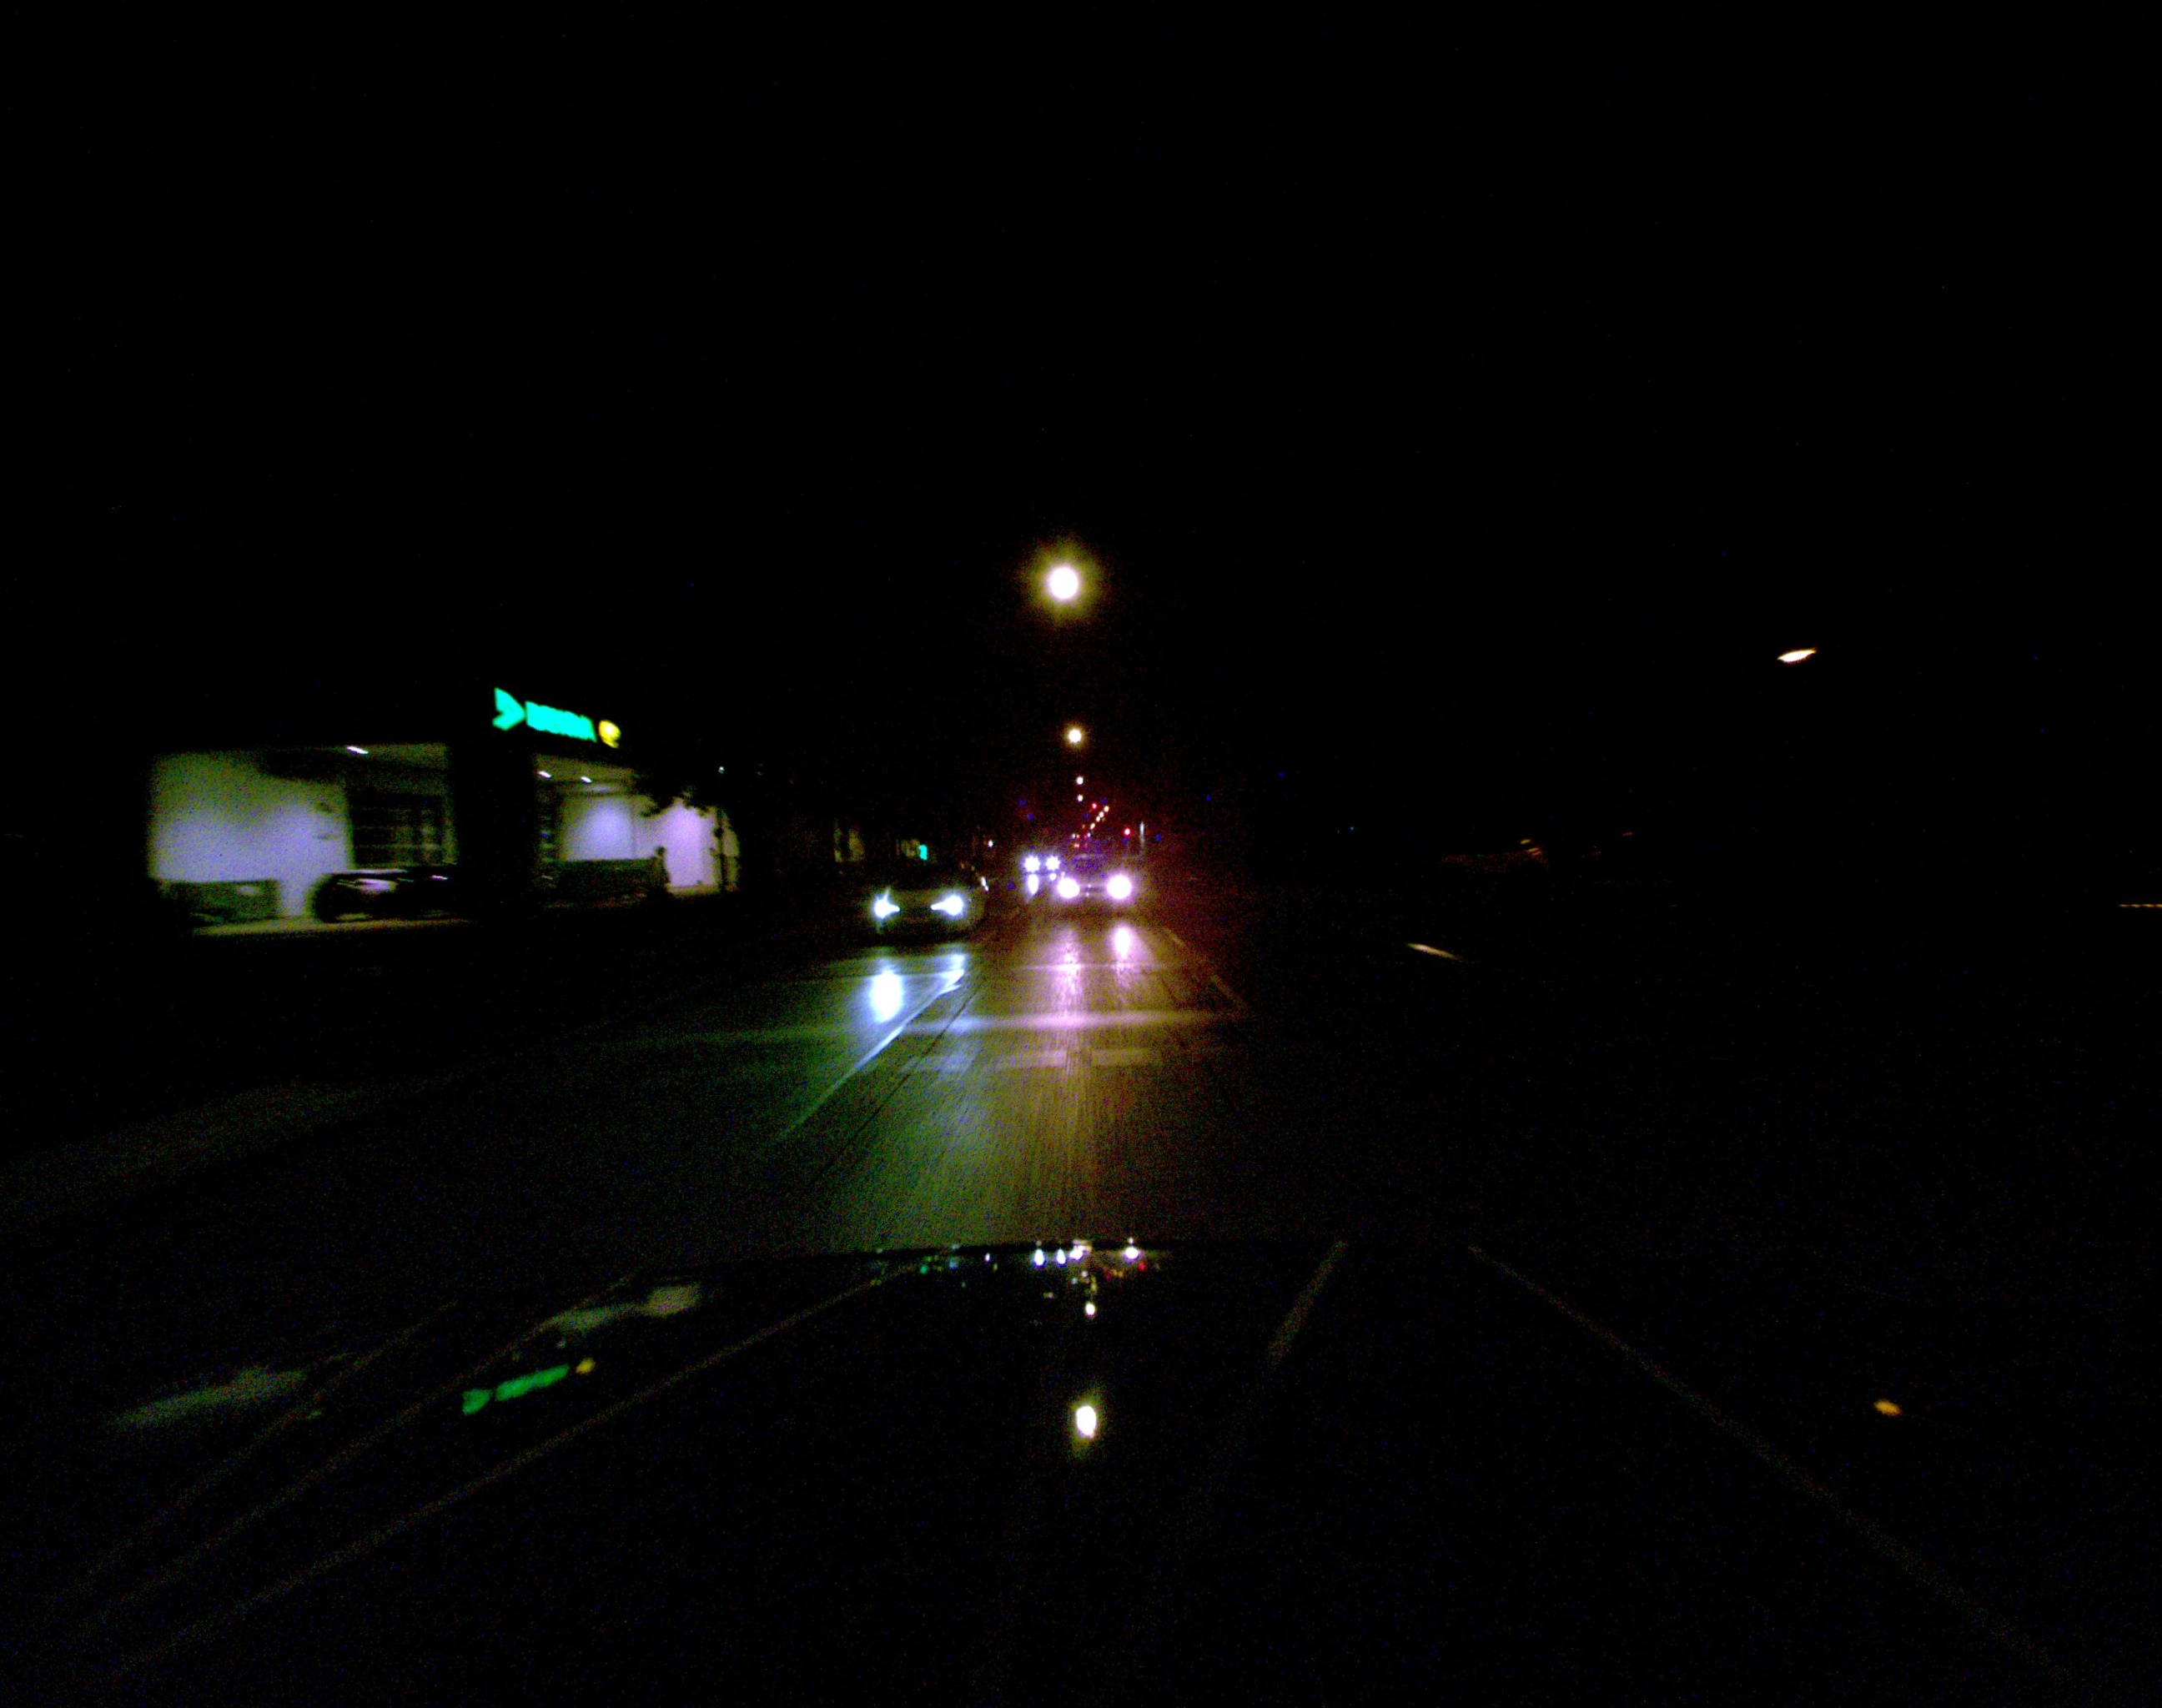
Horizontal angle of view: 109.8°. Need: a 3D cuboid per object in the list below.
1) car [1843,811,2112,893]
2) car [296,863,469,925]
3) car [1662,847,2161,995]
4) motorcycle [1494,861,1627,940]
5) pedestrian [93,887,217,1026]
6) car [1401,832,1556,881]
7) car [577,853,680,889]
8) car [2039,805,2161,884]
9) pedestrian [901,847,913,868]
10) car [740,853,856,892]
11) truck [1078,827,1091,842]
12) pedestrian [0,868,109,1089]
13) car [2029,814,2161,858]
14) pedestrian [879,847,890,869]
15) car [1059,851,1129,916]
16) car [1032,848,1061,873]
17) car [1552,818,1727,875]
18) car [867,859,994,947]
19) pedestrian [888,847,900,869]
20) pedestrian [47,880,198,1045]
[{"bbox_3d":[22.464,-0.089,19.211,4.349,1.745,1.956,-3,3,2],"label":"car"},{"bbox_3d":[-21.830,1.190,24.005,1.731,1.587,3.998,-1,2,-1],"label":"car"},{"bbox_3d":[10.541,0.646,9.602,1.896,1.416,4.717,-2,1,-31],"label":"car"},{"bbox_3d":[8.055,0.731,12.892,0.574,1.173,2.029,-2,1,-17],"label":"motorcycle"},{"bbox_3d":[-10.826,1.178,8.906,0.574,1.525,0.633,-2,2,1],"label":"pedestrian"},{"bbox_3d":[14.507,0.064,27.922,4.672,1.620,2.003,-1,2,-2],"label":"car"},{"bbox_3d":[-22.282,0.836,37.523,3.961,1.557,1.714,-2,2,-3],"label":"car"},{"bbox_3d":[27.891,-0.320,19.323,4.349,1.745,1.960,-2,5,2],"label":"car"},{"bbox_3d":[-14.583,0.306,63.757,0.737,1.707,0.985,-1,2,1],"label":"pedestrian"},{"bbox_3d":[-11.737,0.755,31.674,4.092,1.446,1.786,-1,2,0],"label":"car"},{"bbox_3d":[1.122,-5.959,232.239,3.517,4.558,9.037,-3,1,0],"label":"truck"},{"bbox_3d":[-9.246,1.044,6.555,0.623,1.801,0.759,-2,2,1],"label":"pedestrian"},{"bbox_3d":[38.379,-0.668,28.218,3.997,1.497,1.903,-2,0,-1],"label":"car"},{"bbox_3d":[-16.488,0.323,63.742,0.676,1.806,0.906,-1,2,1],"label":"pedestrian"},{"bbox_3d":[0.382,0.697,19.971,1.634,1.430,3.839,-2,1,2],"label":"car"},{"bbox_3d":[-2.313,0.415,51.465,1.729,1.455,3.999,-4,1,0],"label":"car"},{"bbox_3d":[20.630,-0.280,28.206,5.001,1.879,2.028,-2,1,-1],"label":"car"},{"bbox_3d":[-3.045,0.923,16.327,1.729,1.422,4.497,-3,1,1],"label":"car"},{"bbox_3d":[-15.665,0.318,63.763,0.721,1.778,0.969,-1,2,1],"label":"pedestrian"},{"bbox_3d":[-10.060,1.109,8.004,0.622,1.629,0.679,-2,2,1],"label":"pedestrian"}]
